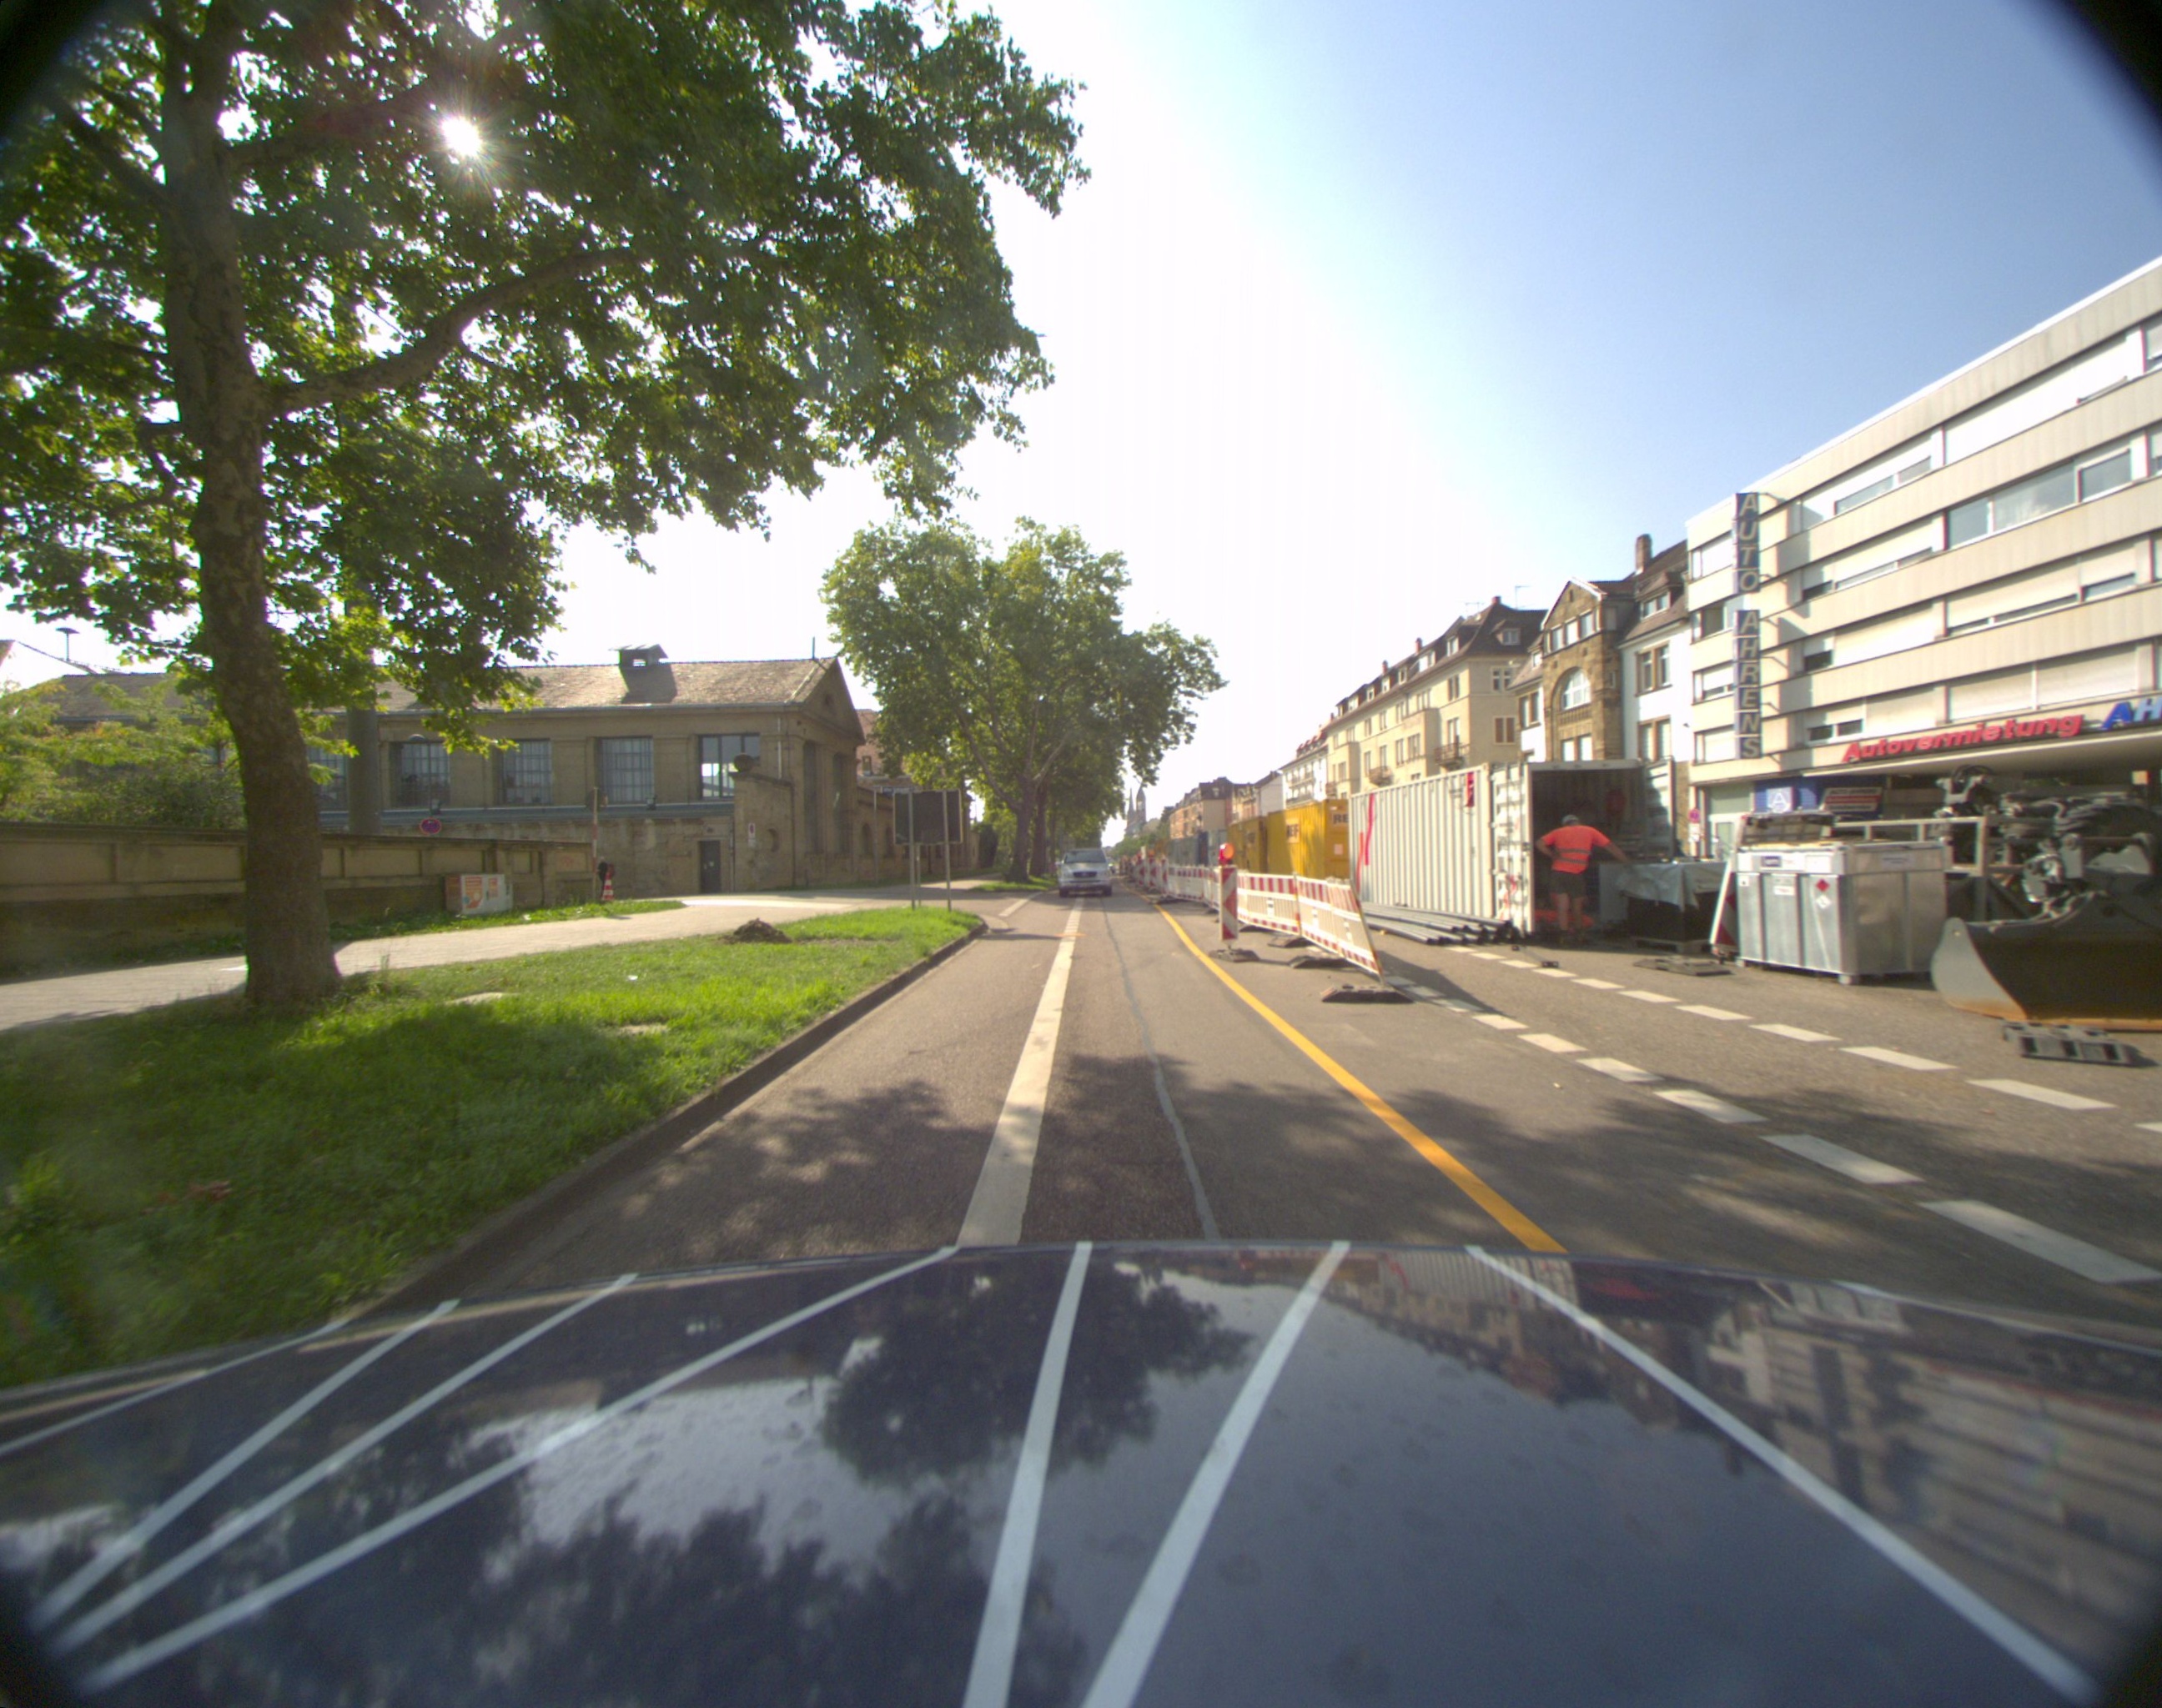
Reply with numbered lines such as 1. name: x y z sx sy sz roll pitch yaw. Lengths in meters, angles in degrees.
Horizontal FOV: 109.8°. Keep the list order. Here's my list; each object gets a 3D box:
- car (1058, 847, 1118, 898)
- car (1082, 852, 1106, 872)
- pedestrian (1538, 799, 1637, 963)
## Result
1. car: 0.261 0.612 28.056 1.998 1.686 5.225 -1 0 1
2. car: 1.194 0.671 67.073 1.998 1.685 5.226 -1 0 1
3. pedestrian: 6.552 0.332 9.880 0.909 2.002 0.913 -3 2 27
